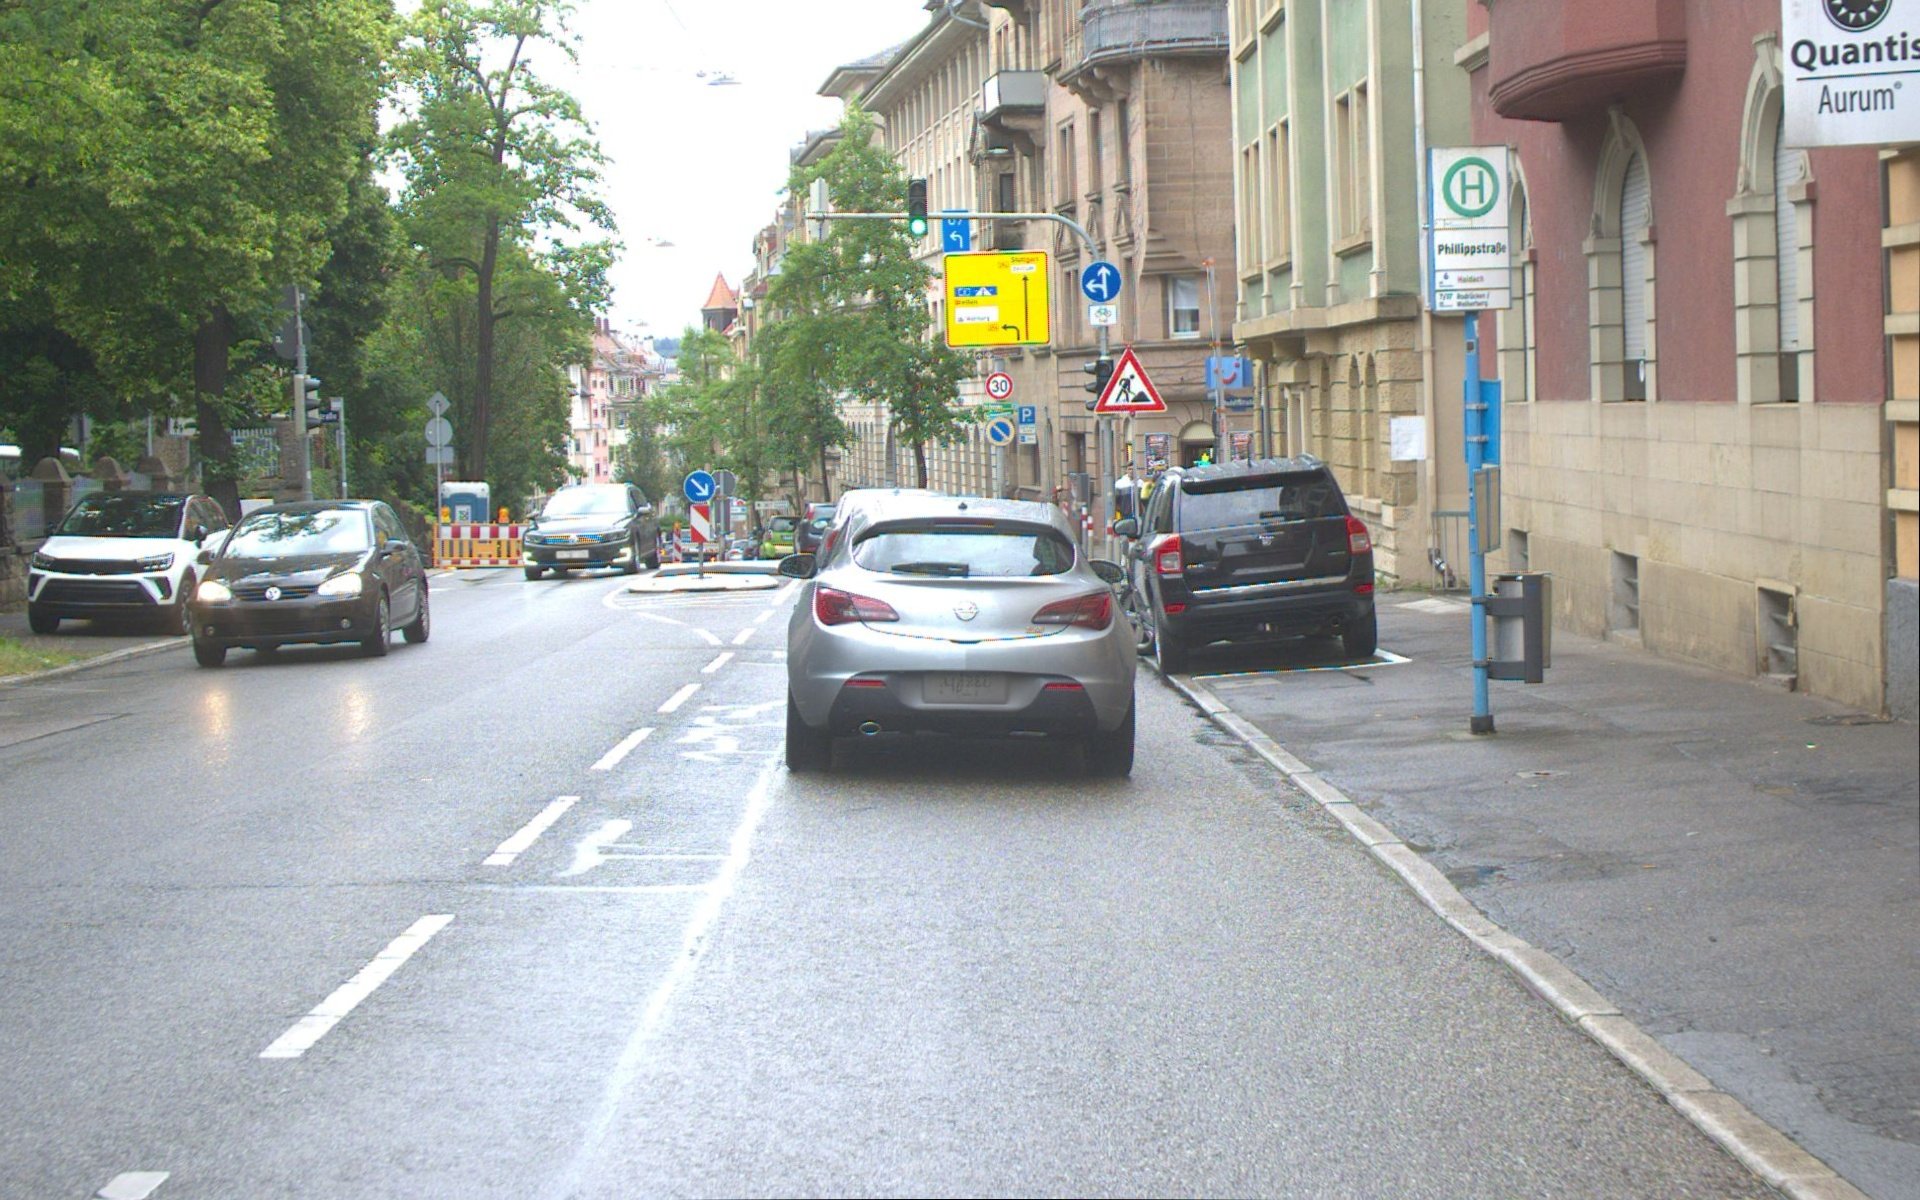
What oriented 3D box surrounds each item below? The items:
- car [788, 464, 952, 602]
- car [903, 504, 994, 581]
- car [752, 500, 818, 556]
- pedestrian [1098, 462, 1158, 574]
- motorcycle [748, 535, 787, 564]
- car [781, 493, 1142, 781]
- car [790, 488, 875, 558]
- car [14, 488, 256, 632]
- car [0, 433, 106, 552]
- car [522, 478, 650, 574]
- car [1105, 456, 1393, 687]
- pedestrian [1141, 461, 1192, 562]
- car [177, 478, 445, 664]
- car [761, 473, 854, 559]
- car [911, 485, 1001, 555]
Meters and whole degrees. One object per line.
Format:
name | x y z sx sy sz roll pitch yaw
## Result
car | -0.979 -0.762 39.235 1.772 1.499 3.869 0 1 0
car | -0.229 -1.152 68.958 1.772 1.499 3.869 0 1 0
car | -5.306 -2.168 103.979 1.656 1.537 3.666 -3 1 -7
pedestrian | 2.727 -1.331 55.757 0.718 1.768 0.665 -2 2 19
motorcycle | -8.455 -2.216 151.146 0.656 1.231 1.978 0 0 32
car | 0.029 0.154 19.156 1.811 1.444 3.869 0 1 1
car | -3.121 -1.850 83.393 1.656 1.537 3.666 -3 1 -7
car | -9.417 -0.468 39.558 1.741 1.554 4.302 1 1 0
car | -18.785 -2.138 64.882 4.666 2.041 2.024 5 4 14
car | -6.105 -1.234 56.466 1.815 1.512 4.549 0 2 -3
car | 2.296 -0.256 28.466 1.877 1.624 4.698 -4 1 0
pedestrian | 3.335 -1.432 55.552 0.597 1.579 0.665 -2 2 18
car | -6.184 -0.343 33.252 1.772 1.512 4.592 -2 3 -1
car | -2.951 -1.621 67.257 1.656 1.537 3.665 -3 1 -1
car | -0.111 -1.935 83.665 1.656 1.537 3.666 -3 1 -7
